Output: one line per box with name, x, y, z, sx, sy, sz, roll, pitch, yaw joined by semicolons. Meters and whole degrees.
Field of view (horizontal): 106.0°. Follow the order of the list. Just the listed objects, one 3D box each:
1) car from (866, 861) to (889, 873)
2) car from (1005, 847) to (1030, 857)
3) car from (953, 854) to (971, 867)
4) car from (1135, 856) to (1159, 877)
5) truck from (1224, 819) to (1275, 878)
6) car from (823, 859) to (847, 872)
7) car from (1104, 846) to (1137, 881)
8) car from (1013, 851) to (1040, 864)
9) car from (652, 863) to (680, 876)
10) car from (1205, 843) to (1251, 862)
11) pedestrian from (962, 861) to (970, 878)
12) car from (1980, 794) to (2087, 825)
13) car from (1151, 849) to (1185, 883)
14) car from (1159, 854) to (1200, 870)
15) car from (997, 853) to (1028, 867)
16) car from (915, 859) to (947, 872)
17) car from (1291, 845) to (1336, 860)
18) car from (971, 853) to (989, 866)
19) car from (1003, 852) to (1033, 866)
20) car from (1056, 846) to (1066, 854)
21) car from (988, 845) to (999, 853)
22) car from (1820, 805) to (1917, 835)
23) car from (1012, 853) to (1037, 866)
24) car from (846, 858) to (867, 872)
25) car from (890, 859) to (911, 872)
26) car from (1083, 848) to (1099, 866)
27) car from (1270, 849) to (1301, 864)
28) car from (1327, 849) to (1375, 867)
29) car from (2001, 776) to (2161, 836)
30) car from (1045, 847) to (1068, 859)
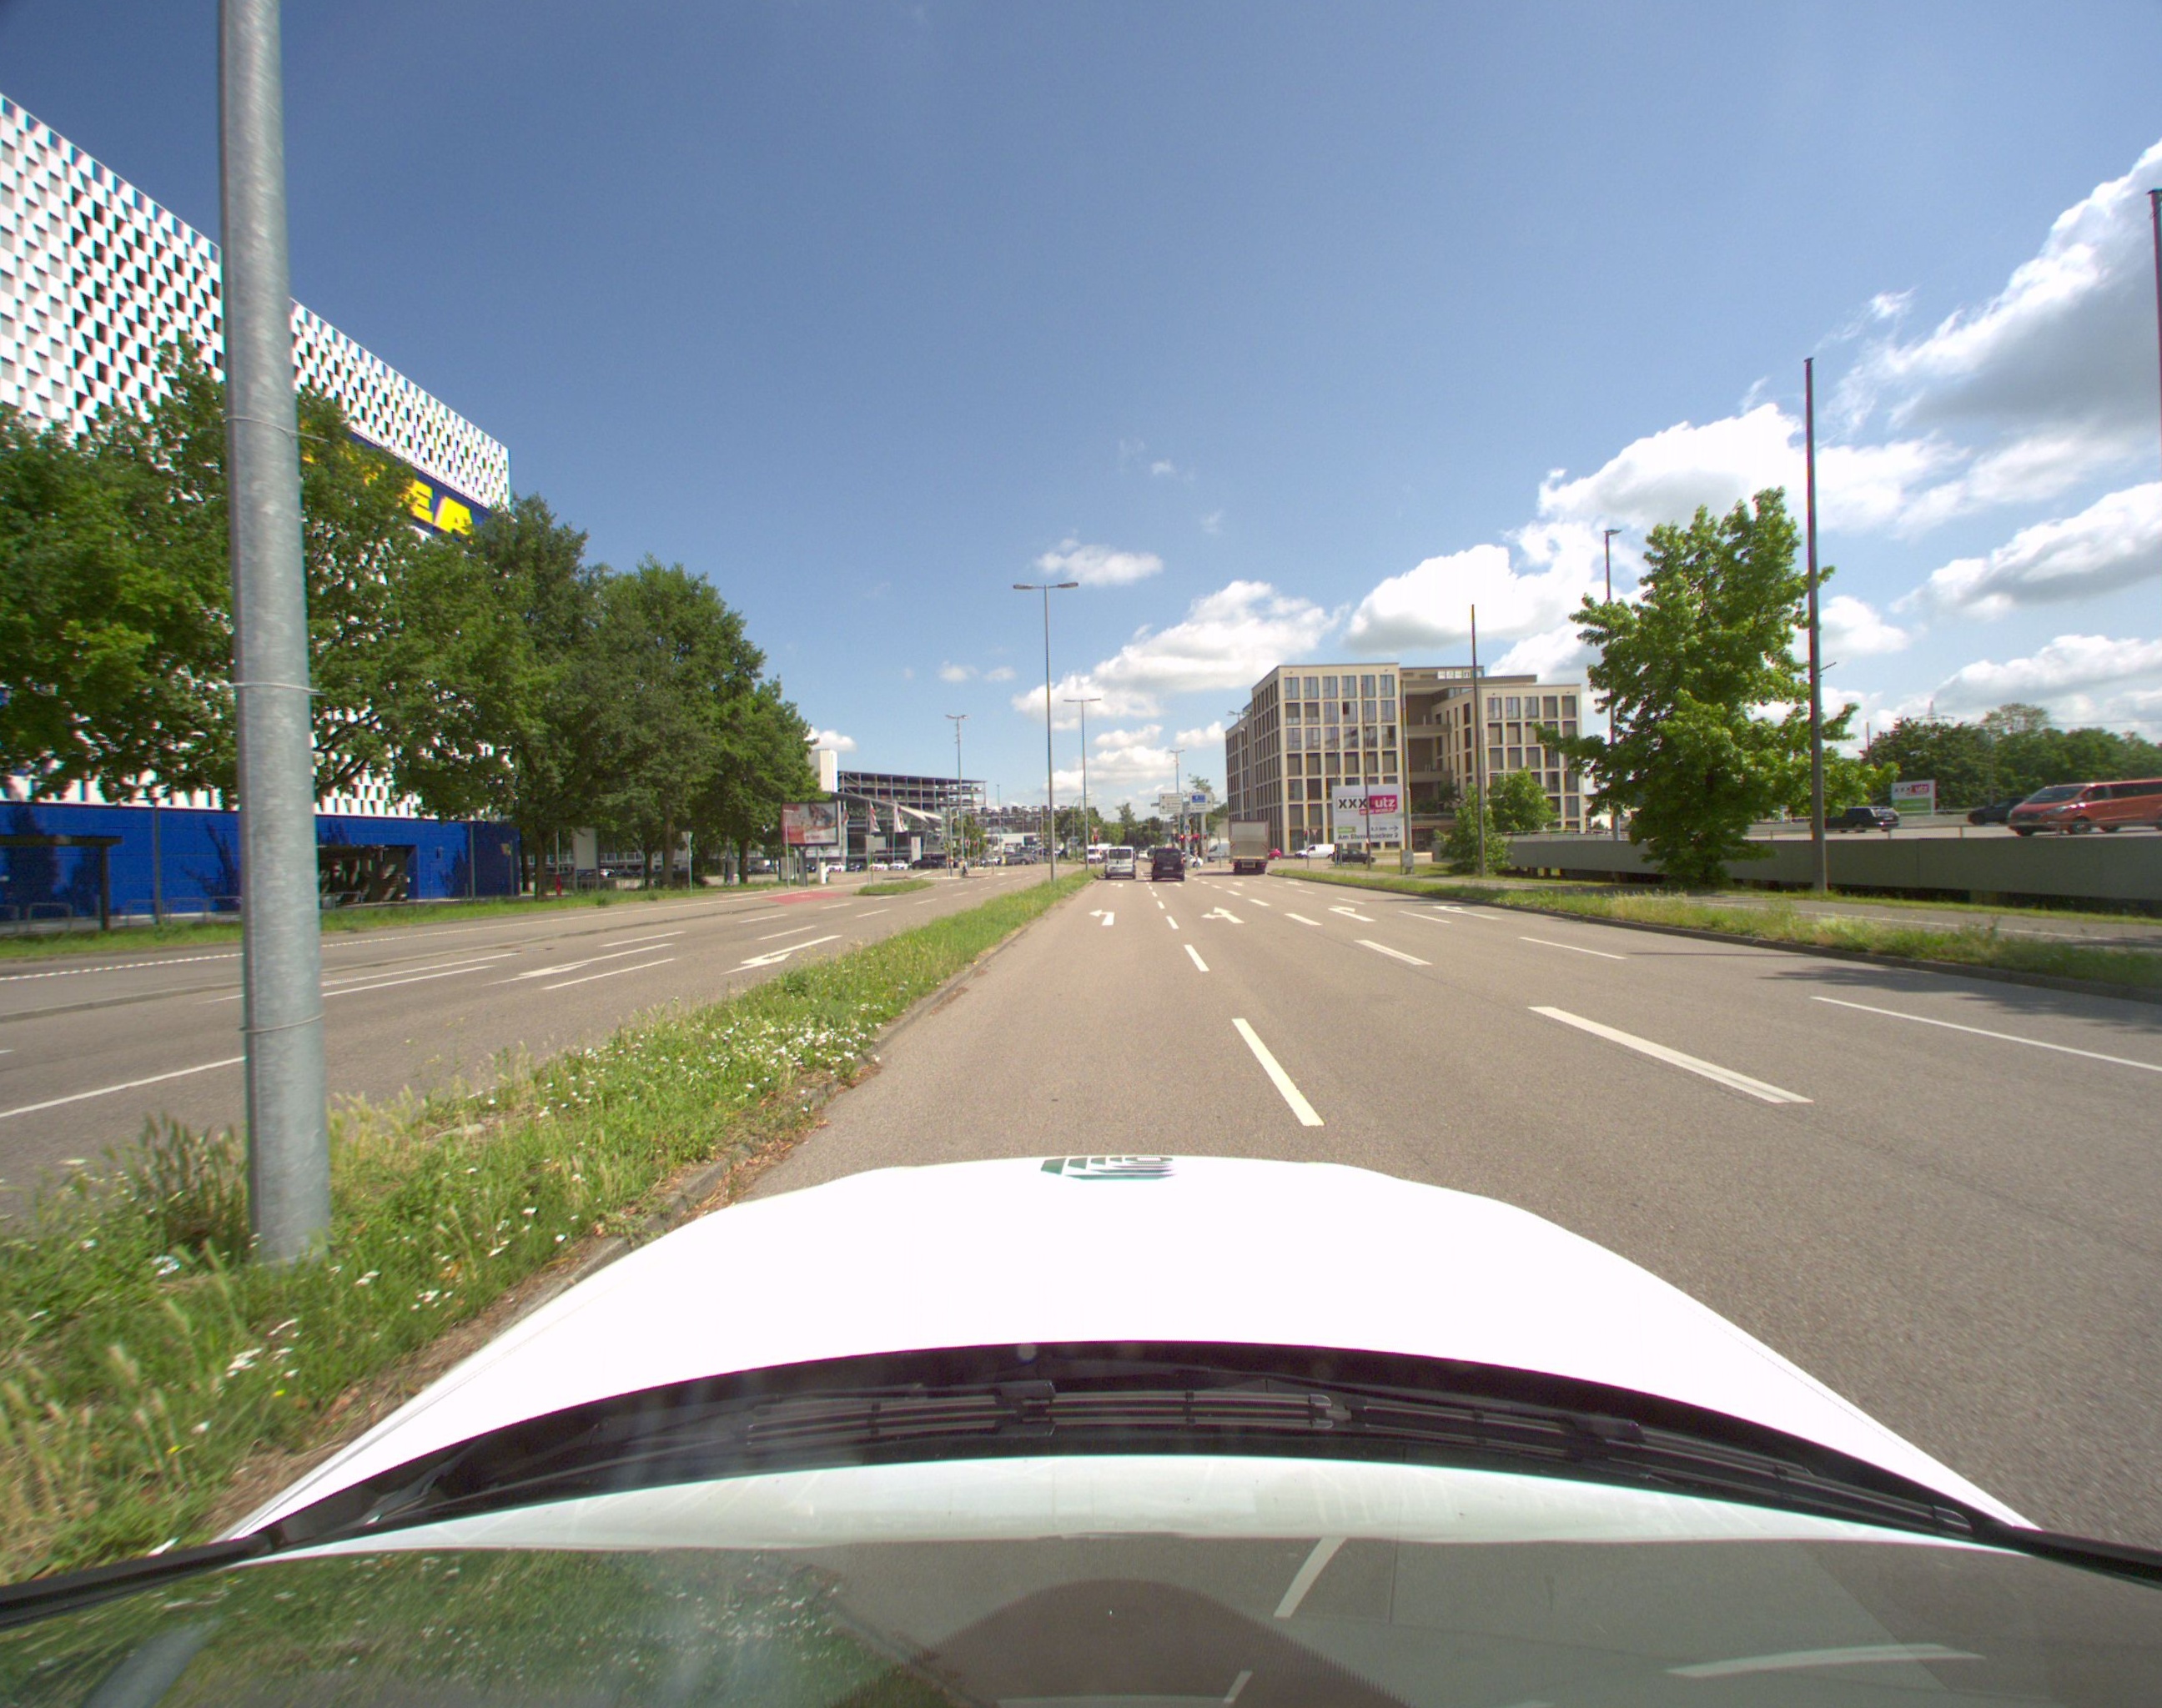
car;-25.912;1.620;103.845;1.901;1.376;3.751;-1;1;0
car;-10.940;-0.286;139.990;4.155;1.712;1.687;0;1;-3
car;-15.201;0.864;103.775;1.819;1.552;3.981;-1;0;-14
car;5.118;0.939;63.277;1.732;1.543;4.004;-1;0;4
truck;12.393;-0.469;59.312;3.107;3.940;8.893;-1;1;14
car;-31.331;1.478;103.721;1.873;1.486;3.700;-1;1;0
car;2.477;0.616;50.131;1.847;2.018;4.005;-1;-2;5
car;-8.480;0.524;126.695;3.901;1.712;1.688;-3;1;-1
car;-52.940;1.937;103.966;1.722;1.486;3.700;-1;1;0
car;18.902;-0.212;104.622;5.447;2.255;2.011;-1;1;23
pedestrian;-9.881;1.337;69.928;0.464;1.512;0.515;-1;0;28
car;55.640;-2.579;47.669;1.738;1.600;3.865;-1;1;-2
car;4.864;0.644;45.543;1.810;1.809;4.007;-1;0;6
car;9.529;0.769;79.149;3.837;1.466;1.696;-1;1;1
car;-9.114;0.820;108.944;3.850;1.639;1.857;-3;1;-1
car;-19.109;1.464;103.636;3.782;1.513;1.678;-1;1;-2
car;28.120;-0.173;98.541;4.966;1.607;2.000;-1;1;0
car;-12.917;0.731;104.291;1.819;1.552;3.981;-1;0;-14
car;-8.573;0.724;111.702;3.901;1.712;1.688;-3;1;-1
car;-3.949;-0.858;161.424;1.841;1.530;3.999;-1;1;-1
car;-17.523;-0.937;163.233;1.841;1.530;3.999;-1;1;-1
car;46.118;-1.975;47.796;1.864;1.521;3.865;-2;-1;-2
car;-8.253;0.748;119.436;3.497;1.712;1.603;-3;1;-1
car;-28.532;1.388;103.571;1.751;1.660;3.616;-1;1;-1
car;-22.966;1.490;103.926;1.770;1.450;4.029;-1;1;0
car;1.410;0.390;111.327;1.964;2.256;4.983;-3;1;2
car;23.411;0.250;93.146;3.261;1.405;1.335;-1;9;0
car;25.639;0.401;77.492;4.115;1.503;1.633;-3;1;14
car;39.834;-1.842;31.970;5.143;2.195;1.987;-1;0;0
car;-4.255;-0.190;140.645;3.978;1.926;1.824;-1;0;-4
